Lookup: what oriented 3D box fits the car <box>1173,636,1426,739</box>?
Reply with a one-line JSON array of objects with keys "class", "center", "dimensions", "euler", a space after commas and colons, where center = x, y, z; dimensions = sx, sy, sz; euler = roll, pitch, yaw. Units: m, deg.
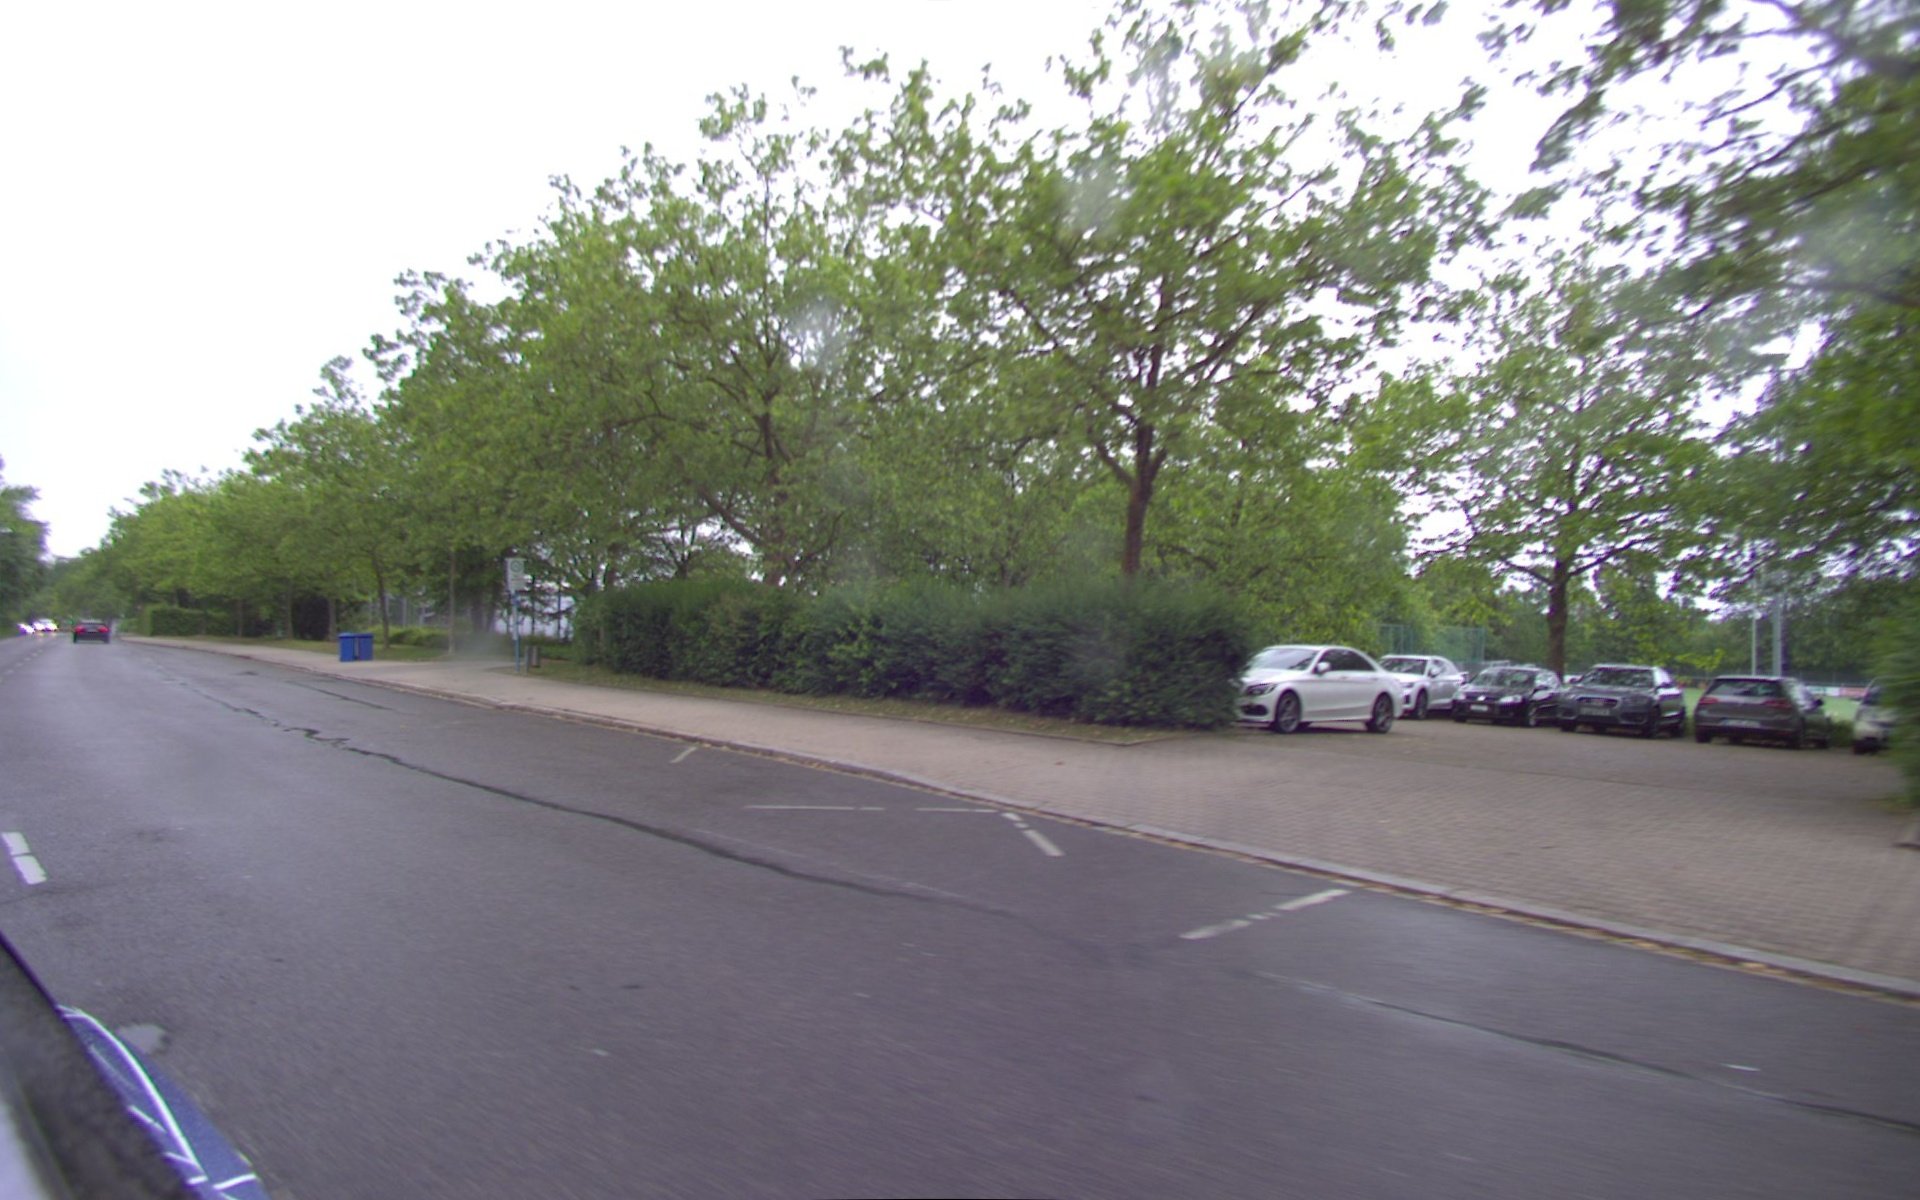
[{"class": "car", "center": [5.810, 1.497, 17.095], "dimensions": [4.438, 1.522, 1.804], "euler": [5, -5, -36]}]

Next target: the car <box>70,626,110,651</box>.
[{"class": "car", "center": [-55.275, 2.421, 64.349], "dimensions": [1.803, 1.476, 4.006], "euler": [4, -3, -40]}]

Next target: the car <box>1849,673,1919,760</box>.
[{"class": "car", "center": [18.727, 2.258, 19.449], "dimensions": [3.936, 1.522, 1.803], "euler": [6, -5, -39]}]

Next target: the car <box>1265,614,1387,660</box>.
[{"class": "car", "center": [17.077, 1.733, 47.336], "dimensions": [4.887, 2.029, 2.325], "euler": [-2, -2, 40]}]

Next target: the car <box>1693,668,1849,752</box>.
[{"class": "car", "center": [16.732, 2.248, 20.835], "dimensions": [3.937, 1.522, 1.803], "euler": [6, -5, -41]}]

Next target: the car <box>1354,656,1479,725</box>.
[{"class": "car", "center": [12.015, 2.384, 26.529], "dimensions": [1.800, 1.617, 3.989], "euler": [-1, -5, 43]}]

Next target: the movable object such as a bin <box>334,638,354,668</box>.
[{"class": "movable object such as a bin", "center": [-23.499, 2.024, 38.620], "dimensions": [0.559, 1.107, 0.673], "euler": [-1, 0, -40]}]

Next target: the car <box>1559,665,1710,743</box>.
[{"class": "car", "center": [15.031, 2.303, 22.501], "dimensions": [3.937, 1.522, 1.803], "euler": [6, -5, -41]}]

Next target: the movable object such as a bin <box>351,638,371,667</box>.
[{"class": "movable object such as a bin", "center": [-23.219, 2.029, 39.212], "dimensions": [0.559, 1.107, 0.673], "euler": [-1, 0, -40]}]

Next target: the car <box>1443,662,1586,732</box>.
[{"class": "car", "center": [13.563, 2.366, 24.661], "dimensions": [3.937, 1.522, 1.803], "euler": [6, -5, -41]}]
